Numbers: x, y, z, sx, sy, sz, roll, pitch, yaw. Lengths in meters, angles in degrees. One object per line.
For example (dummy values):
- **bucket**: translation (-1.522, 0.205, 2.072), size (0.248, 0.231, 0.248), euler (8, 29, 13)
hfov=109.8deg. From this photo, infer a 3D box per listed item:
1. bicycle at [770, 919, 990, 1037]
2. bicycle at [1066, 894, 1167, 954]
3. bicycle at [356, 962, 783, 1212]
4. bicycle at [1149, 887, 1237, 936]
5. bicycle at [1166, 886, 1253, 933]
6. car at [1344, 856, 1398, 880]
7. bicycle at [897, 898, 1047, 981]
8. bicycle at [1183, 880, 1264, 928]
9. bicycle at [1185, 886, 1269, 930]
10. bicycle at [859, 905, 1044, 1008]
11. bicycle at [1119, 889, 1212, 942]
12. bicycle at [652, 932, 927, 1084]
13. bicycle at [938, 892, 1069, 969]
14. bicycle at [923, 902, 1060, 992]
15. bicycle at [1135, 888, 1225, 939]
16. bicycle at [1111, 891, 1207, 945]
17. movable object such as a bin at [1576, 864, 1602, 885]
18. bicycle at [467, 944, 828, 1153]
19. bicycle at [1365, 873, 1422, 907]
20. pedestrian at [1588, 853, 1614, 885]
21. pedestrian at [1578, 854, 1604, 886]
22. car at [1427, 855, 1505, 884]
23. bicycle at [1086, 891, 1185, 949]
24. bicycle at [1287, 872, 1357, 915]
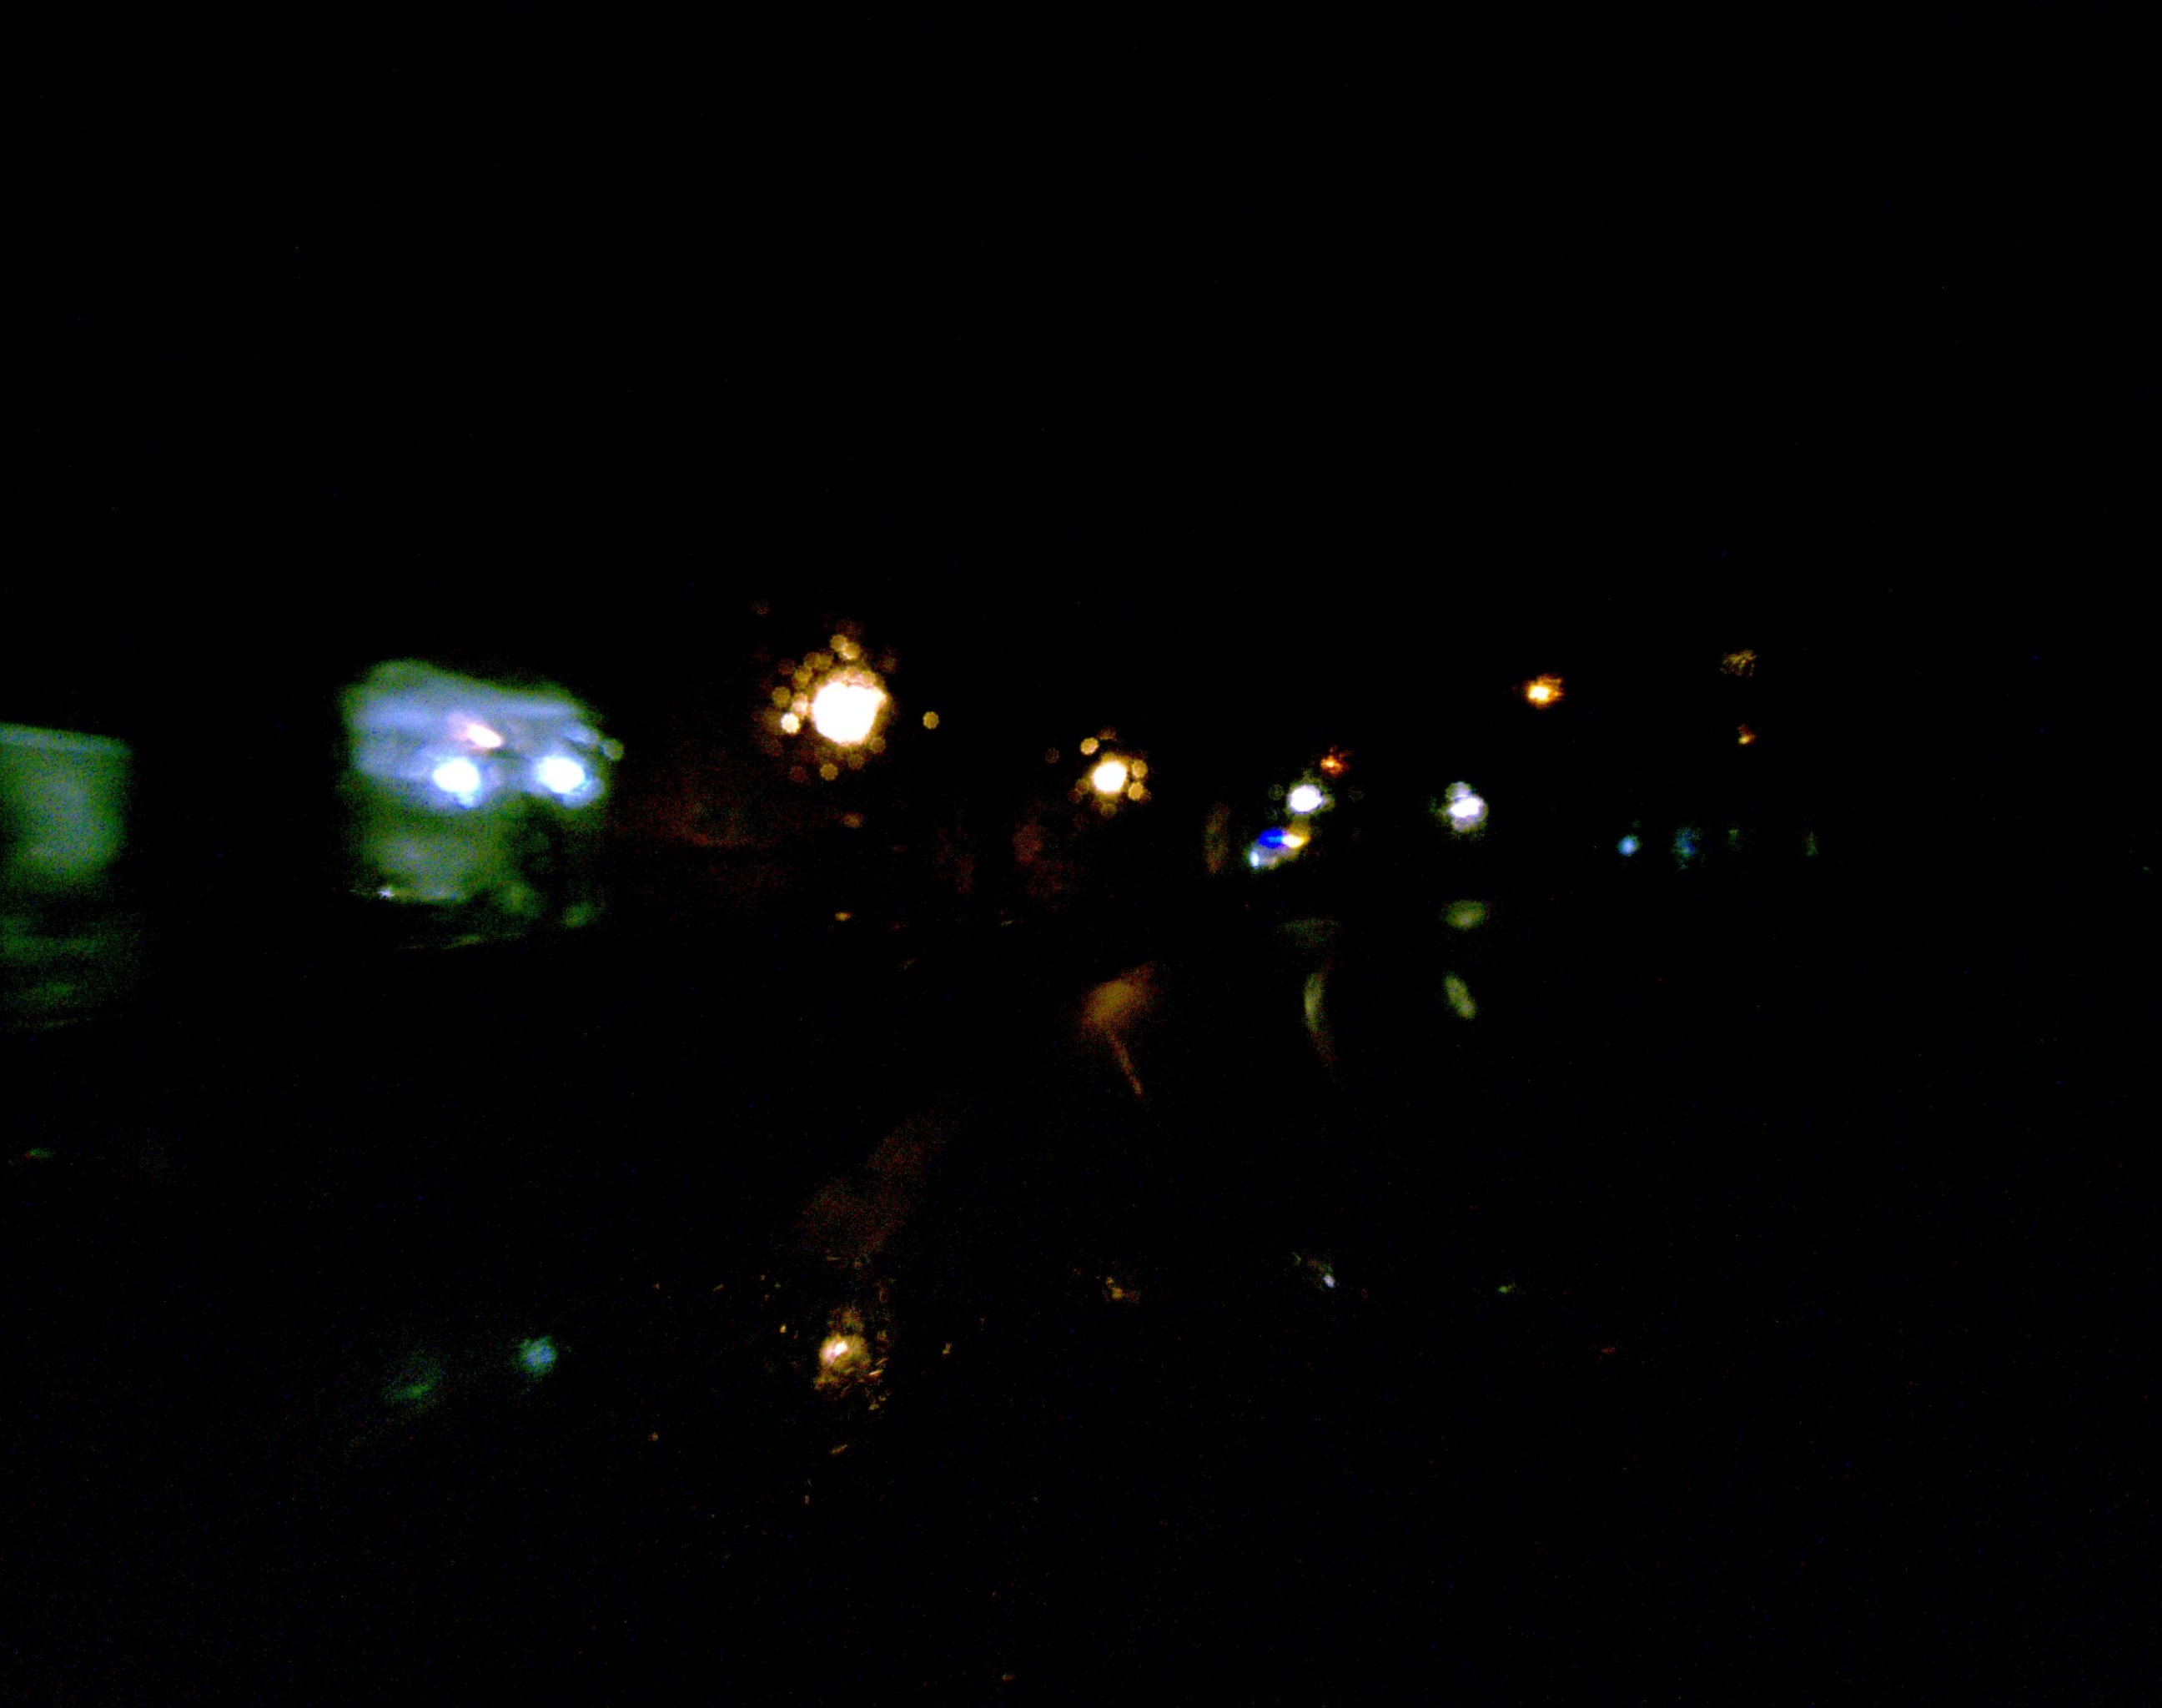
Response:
- **bicycle**: translation (-1.940, 1.162, 7.391), size (1.971, 1.000, 0.643), euler (-1, 0, 13)
- **bicycle**: translation (0.655, 1.316, 14.668), size (1.969, 1.000, 0.643), euler (-1, 0, 41)
- **bicycle**: translation (-2.626, 1.124, 3.945), size (1.971, 1.000, 0.643), euler (-1, 0, 13)
- **bicycle**: translation (2.582, 1.303, 17.616), size (1.969, 1.000, 0.643), euler (-1, 0, 41)
- **bicycle**: translation (3.048, 1.305, 18.162), size (1.969, 1.000, 0.689), euler (-1, 0, 41)
- **car**: translation (21.912, 1.081, 57.608), size (1.881, 1.693, 4.283), euler (-3, -1, -10)
- **bicycle**: translation (-1.462, 1.156, 10.462), size (1.974, 1.047, 0.642), euler (-1, 0, -3)
- **bicycle**: translation (3.644, 1.256, 19.497), size (1.927, 1.108, 0.732), euler (-1, 0, 41)
- **bicycle**: translation (3.590, 1.313, 18.833), size (1.927, 0.981, 0.732), euler (-1, 0, 41)
- **bicycle**: translation (-1.469, 1.136, 8.688), size (1.971, 1.059, 0.643), euler (-1, 0, 13)
- **bicycle**: translation (1.802, 1.300, 16.451), size (1.969, 1.000, 0.643), euler (-1, 0, 41)
- **bicycle**: translation (-2.271, 1.156, 5.967), size (1.971, 1.000, 0.643), euler (-1, 0, 13)
- **bicycle**: translation (-1.158, 1.127, 11.507), size (1.822, 1.080, 0.722), euler (-1, 0, 13)
- **bicycle**: translation (-1.230, 1.183, 10.129), size (1.969, 1.000, 0.643), euler (-1, 0, 41)
- **bicycle**: translation (2.194, 1.302, 16.975), size (1.969, 1.000, 0.643), euler (-1, 0, 41)
- **bicycle**: translation (1.600, 1.299, 15.770), size (1.969, 1.000, 0.643), euler (-1, 0, 41)
- **movable object such as a bin**: translation (27.389, 1.102, 40.970), size (0.634, 1.108, 0.923), euler (-3, -2, -9)
- **bicycle**: translation (-2.614, 1.113, 4.623), size (1.971, 1.029, 0.643), euler (-1, 0, 13)
- **bicycle**: translation (10.352, 1.179, 25.185), size (1.620, 1.075, 0.566), euler (-2, 2, 40)
- **pedestrian**: translation (27.499, 0.815, 40.176), size (0.634, 1.627, 0.843), euler (-3, -1, -9)
- **pedestrian**: translation (26.853, 0.841, 40.035), size (0.634, 1.627, 0.874), euler (-3, -2, -10)
- **car**: translation (23.844, 0.960, 47.222), size (1.889, 1.584, 4.492), euler (-3, -1, -12)
- **bicycle**: translation (1.070, 1.290, 15.240), size (1.969, 1.028, 0.643), euler (-1, 0, 41)
- **bicycle**: translation (7.252, 1.171, 22.913), size (1.869, 1.210, 0.732), euler (-1, 0, 41)
